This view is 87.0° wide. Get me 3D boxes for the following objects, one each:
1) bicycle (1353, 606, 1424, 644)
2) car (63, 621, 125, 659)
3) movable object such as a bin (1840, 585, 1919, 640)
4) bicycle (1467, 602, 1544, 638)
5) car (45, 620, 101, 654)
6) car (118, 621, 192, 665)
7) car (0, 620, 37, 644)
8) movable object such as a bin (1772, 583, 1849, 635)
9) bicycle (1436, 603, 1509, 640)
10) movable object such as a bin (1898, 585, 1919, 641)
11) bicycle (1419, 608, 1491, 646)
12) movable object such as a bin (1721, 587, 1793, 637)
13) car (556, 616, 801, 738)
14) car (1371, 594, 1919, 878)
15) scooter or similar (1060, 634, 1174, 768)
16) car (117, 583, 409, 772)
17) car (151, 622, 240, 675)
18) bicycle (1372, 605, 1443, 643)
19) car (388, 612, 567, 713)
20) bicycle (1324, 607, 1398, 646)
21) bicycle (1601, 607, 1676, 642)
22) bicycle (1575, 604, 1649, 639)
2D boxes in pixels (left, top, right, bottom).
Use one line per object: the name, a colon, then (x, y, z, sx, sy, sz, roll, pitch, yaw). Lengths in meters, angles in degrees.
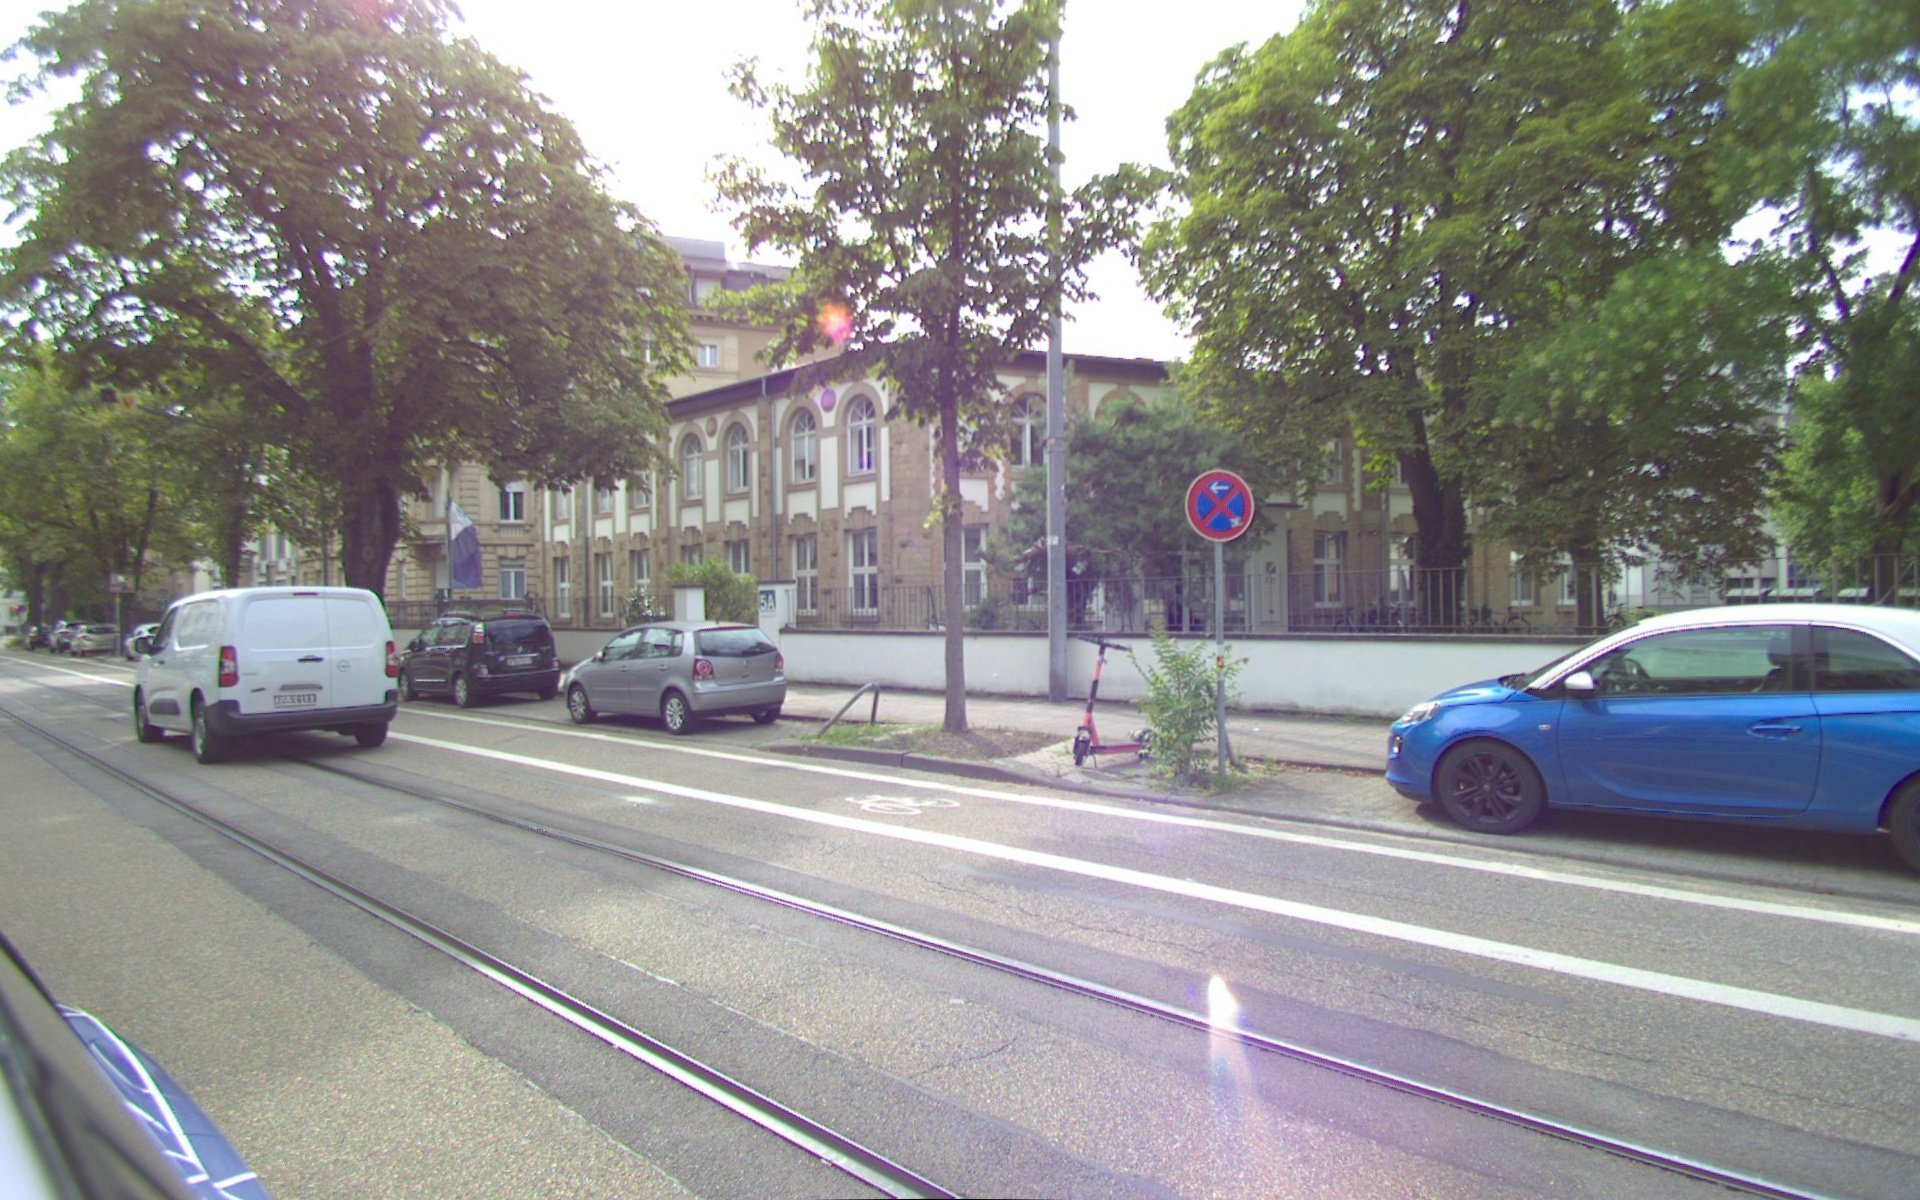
bicycle: (12.179, 0.695, 28.839, 0.584, 1.051, 1.984, -1, 0, -23)
car: (-40.077, 1.820, 46.813, 3.904, 1.646, 1.637, -2, -1, 41)
movable object such as a bin: (25.006, 0.341, 27.469, 1.103, 1.441, 1.288, 0, 0, -21)
bicycle: (16.689, 0.604, 30.969, 1.978, 1.051, 0.586, -1, 0, 44)
car: (-45.427, 1.888, 51.805, 3.904, 1.646, 1.637, -2, -1, 41)
car: (-31.937, 1.673, 40.126, 3.904, 1.613, 1.637, -2, -1, 41)
car: (-85.055, 2.839, 90.263, 3.939, 2.029, 2.002, -1, -1, -42)
movable object such as a bin: (24.295, 0.260, 28.930, 1.103, 1.441, 1.288, 0, 0, -21)
bicycle: (15.168, 0.622, 30.004, 0.584, 1.051, 1.984, -1, 0, -23)
movable object such as a bin: (25.384, 0.336, 26.150, 1.103, 1.441, 1.288, 0, 0, -21)
bicycle: (14.476, 0.778, 29.664, 0.584, 1.051, 1.984, -1, 0, -23)
movable object such as a bin: (23.784, 0.356, 30.226, 1.103, 1.441, 1.288, 0, 0, -21)
car: (-4.019, 0.990, 14.200, 3.572, 1.476, 1.611, -2, -1, 41)
car: (4.778, 0.726, 6.533, 3.600, 1.476, 1.611, -2, -1, 41)
scooter or similar: (1.477, 0.922, 9.498, 0.987, 1.176, 0.370, -1, -1, -24)
car: (-8.448, 0.795, 12.082, 4.676, 1.837, 1.776, -2, -1, 41)
car: (-25.680, 1.577, 33.963, 3.904, 1.646, 1.637, -2, -1, 41)
bicycle: (12.875, 0.686, 29.173, 0.584, 1.051, 1.984, -1, 0, -23)
car: (-8.924, 1.073, 18.598, 3.723, 1.646, 1.637, -2, -1, 41)
bicycle: (11.302, 0.730, 28.602, 0.584, 1.051, 1.984, -1, 0, -30)
bicycle: (21.837, 0.772, 32.598, 0.584, 1.051, 1.984, -1, 0, -23)
bicycle: (20.617, 0.662, 32.046, 0.584, 1.051, 1.984, -1, 0, -23)
